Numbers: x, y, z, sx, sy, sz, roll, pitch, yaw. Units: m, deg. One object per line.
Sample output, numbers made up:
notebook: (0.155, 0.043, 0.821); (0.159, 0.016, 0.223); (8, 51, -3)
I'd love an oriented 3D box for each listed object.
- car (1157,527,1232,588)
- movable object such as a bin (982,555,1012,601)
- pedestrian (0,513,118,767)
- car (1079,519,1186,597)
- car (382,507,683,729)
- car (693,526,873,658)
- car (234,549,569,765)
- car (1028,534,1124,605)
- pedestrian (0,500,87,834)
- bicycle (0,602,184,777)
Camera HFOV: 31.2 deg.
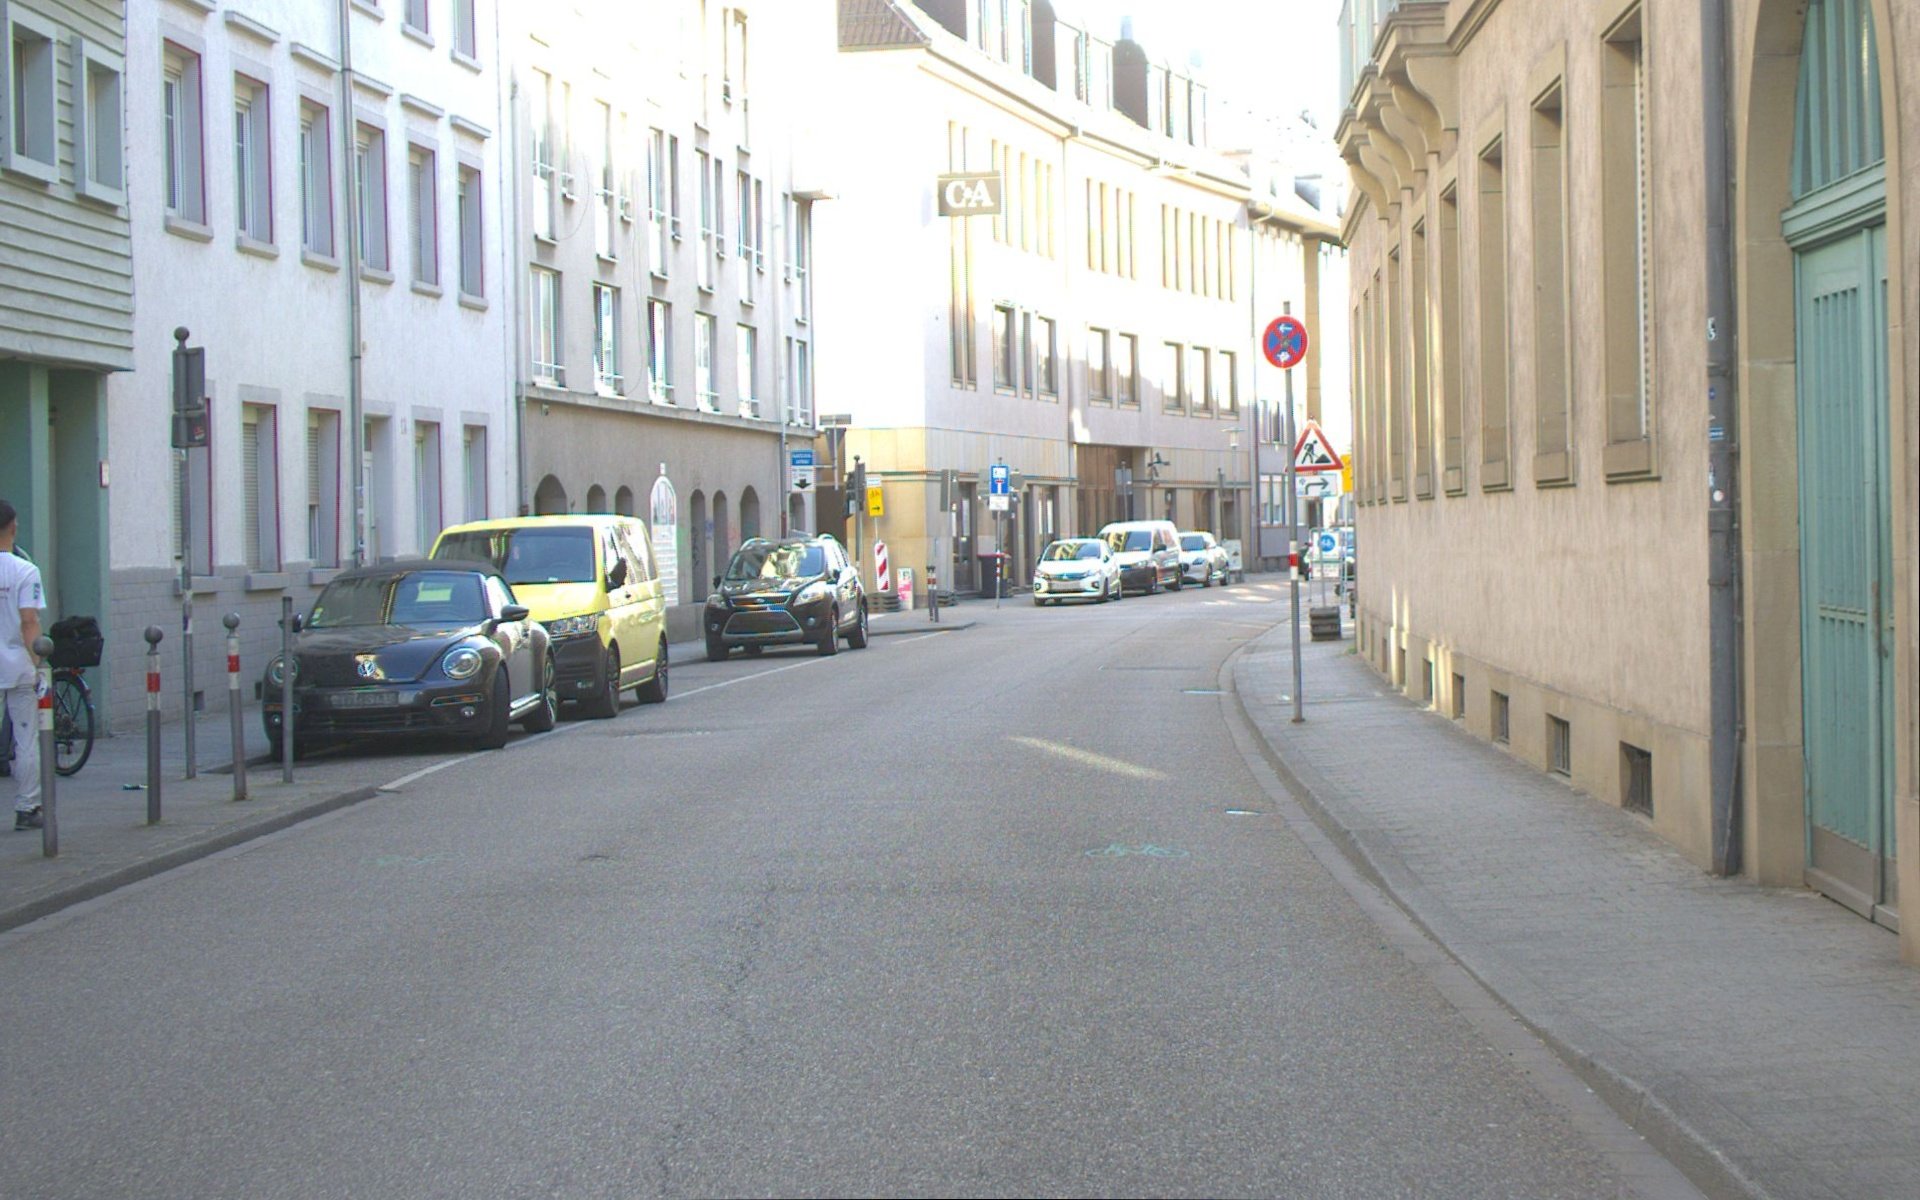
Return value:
car: (6.231, -1.134, 91.226); (1.272, 1.501, 3.399); (-2, 1, 16)
movable object such as a bin: (0.871, -0.525, 81.090); (0.609, 1.057, 0.713); (2, 1, 6)
pedestrian: (-6.571, 0.270, 23.945); (1.079, 1.722, 0.801); (-1, 1, 25)
car: (4.310, -1.059, 85.279); (1.671, 1.812, 4.549); (-2, 1, 15)
car: (-4.003, 0.112, 33.025); (1.880, 1.860, 4.863); (-3, 1, 4)
car: (-2.490, -0.156, 49.402); (1.740, 1.705, 4.189); (-3, 1, 8)
car: (-4.383, 0.396, 27.571); (1.819, 1.481, 4.076); (-3, 1, 2)
car: (2.715, -0.725, 79.608); (1.671, 1.501, 3.792); (-2, 1, 10)
pedestrian: (-5.144, 0.351, 18.275); (0.698, 1.728, 0.829); (-2, 1, 2)
bicycle: (-6.535, 0.611, 23.936); (2.131, 1.159, 0.822); (-1, 1, 25)
